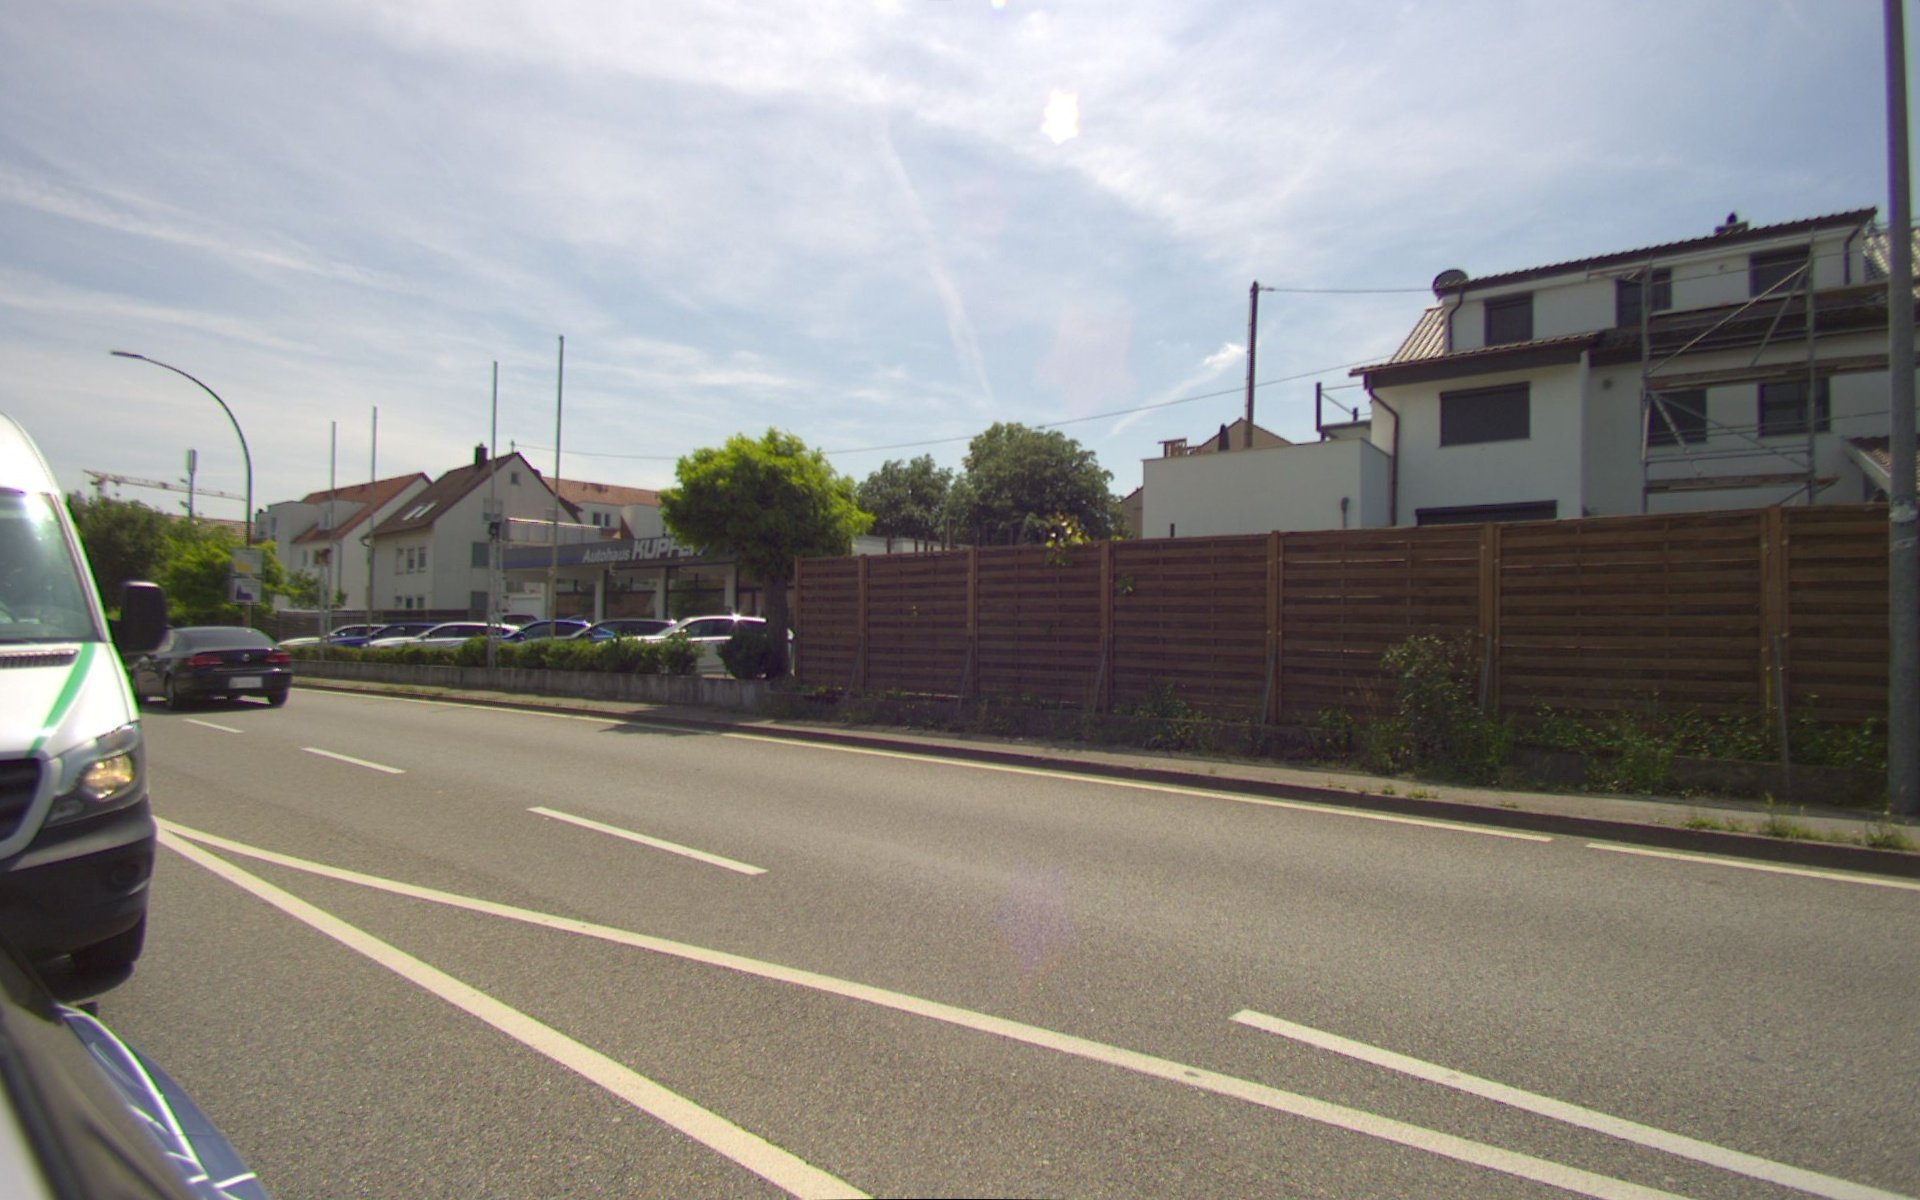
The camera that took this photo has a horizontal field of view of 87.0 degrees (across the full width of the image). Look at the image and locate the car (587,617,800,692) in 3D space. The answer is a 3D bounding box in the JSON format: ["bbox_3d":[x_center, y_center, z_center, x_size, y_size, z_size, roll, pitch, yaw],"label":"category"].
[{"bbox_3d":[-5.880,1.142,22.369,4.264,1.471,1.861,0,-1,-26],"label":"car"}]

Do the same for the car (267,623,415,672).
[{"bbox_3d":[-21.490,1.619,35.347,4.192,1.541,2.006,-1,-1,-24],"label":"car"}]

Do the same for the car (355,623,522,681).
[{"bbox_3d":[-15.275,1.486,29.911,4.238,1.530,2.006,-1,-1,-23],"label":"car"}]

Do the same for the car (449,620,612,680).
[{"bbox_3d":[-11.608,1.306,27.444,3.931,1.453,1.860,-1,-1,-25],"label":"car"}]

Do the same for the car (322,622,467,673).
[{"bbox_3d":[-18.256,1.512,32.881,3.930,1.475,2.006,-1,-1,-24],"label":"car"}]

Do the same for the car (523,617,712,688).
[{"bbox_3d":[-8.455,1.239,25.028,4.187,1.557,1.856,-1,-1,-27],"label":"car"}]

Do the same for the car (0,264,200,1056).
[{"bbox_3d":[-5.614,0.263,4.811,5.628,2.619,1.953,-2,-1,40],"label":"car"}]

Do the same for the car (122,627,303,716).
[{"bbox_3d":[-14.044,1.253,18.910,4.612,1.428,1.796,-2,-2,41],"label":"car"}]
